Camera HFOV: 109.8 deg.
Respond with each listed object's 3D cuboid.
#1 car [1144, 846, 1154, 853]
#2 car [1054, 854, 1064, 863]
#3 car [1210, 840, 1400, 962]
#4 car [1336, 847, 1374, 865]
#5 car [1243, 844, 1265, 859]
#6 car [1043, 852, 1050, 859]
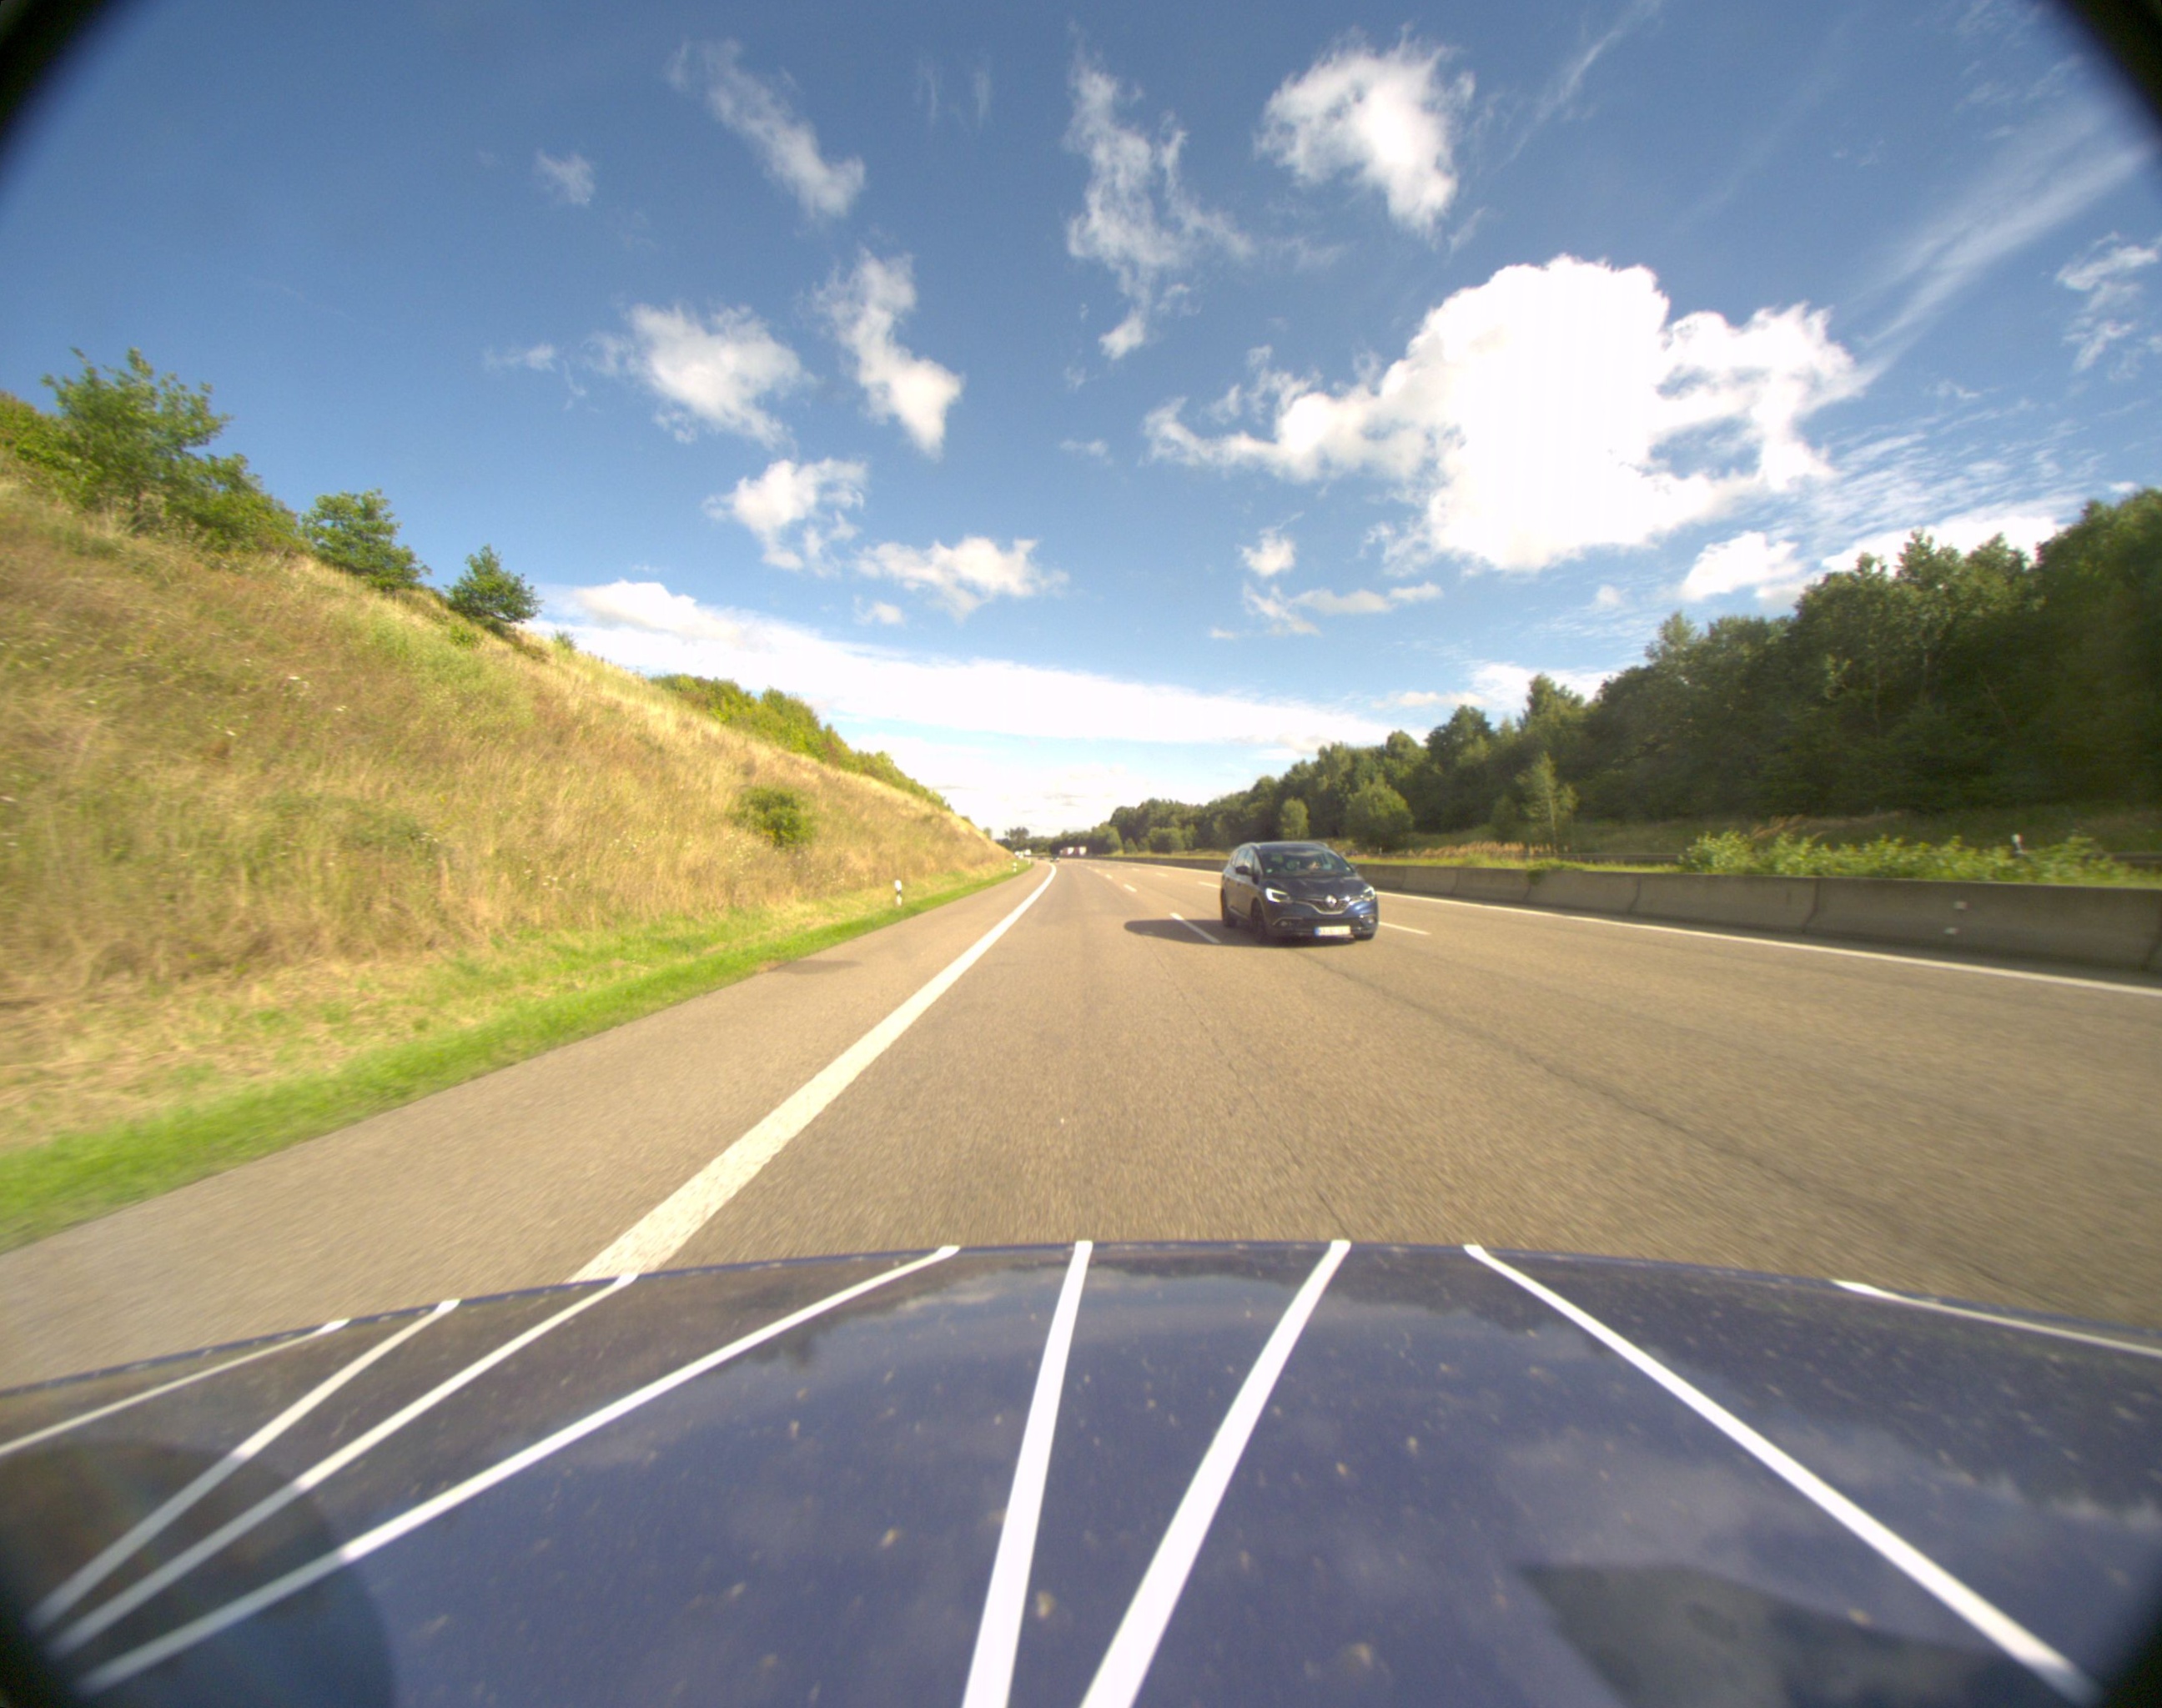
[{"bbox_3d":[19.251,-1.209,214.509,2.000,1.790,3.997,-2,0,-7],"label":"car"},{"bbox_3d":[-4.878,1.034,164.539,1.999,1.827,3.998,-2,1,-4],"label":"car"},{"bbox_3d":[3.655,0.670,13.342,1.998,1.697,4.529,-2,0,1],"label":"car"},{"bbox_3d":[23.500,0.117,65.286,1.911,1.444,4.000,-2,0,1],"label":"car"},{"bbox_3d":[22.110,-0.364,97.225,1.998,1.790,4.000,-2,0,1],"label":"car"},{"bbox_3d":[-10.584,0.368,233.435,1.999,2.002,3.997,-2,1,-6],"label":"car"}]
